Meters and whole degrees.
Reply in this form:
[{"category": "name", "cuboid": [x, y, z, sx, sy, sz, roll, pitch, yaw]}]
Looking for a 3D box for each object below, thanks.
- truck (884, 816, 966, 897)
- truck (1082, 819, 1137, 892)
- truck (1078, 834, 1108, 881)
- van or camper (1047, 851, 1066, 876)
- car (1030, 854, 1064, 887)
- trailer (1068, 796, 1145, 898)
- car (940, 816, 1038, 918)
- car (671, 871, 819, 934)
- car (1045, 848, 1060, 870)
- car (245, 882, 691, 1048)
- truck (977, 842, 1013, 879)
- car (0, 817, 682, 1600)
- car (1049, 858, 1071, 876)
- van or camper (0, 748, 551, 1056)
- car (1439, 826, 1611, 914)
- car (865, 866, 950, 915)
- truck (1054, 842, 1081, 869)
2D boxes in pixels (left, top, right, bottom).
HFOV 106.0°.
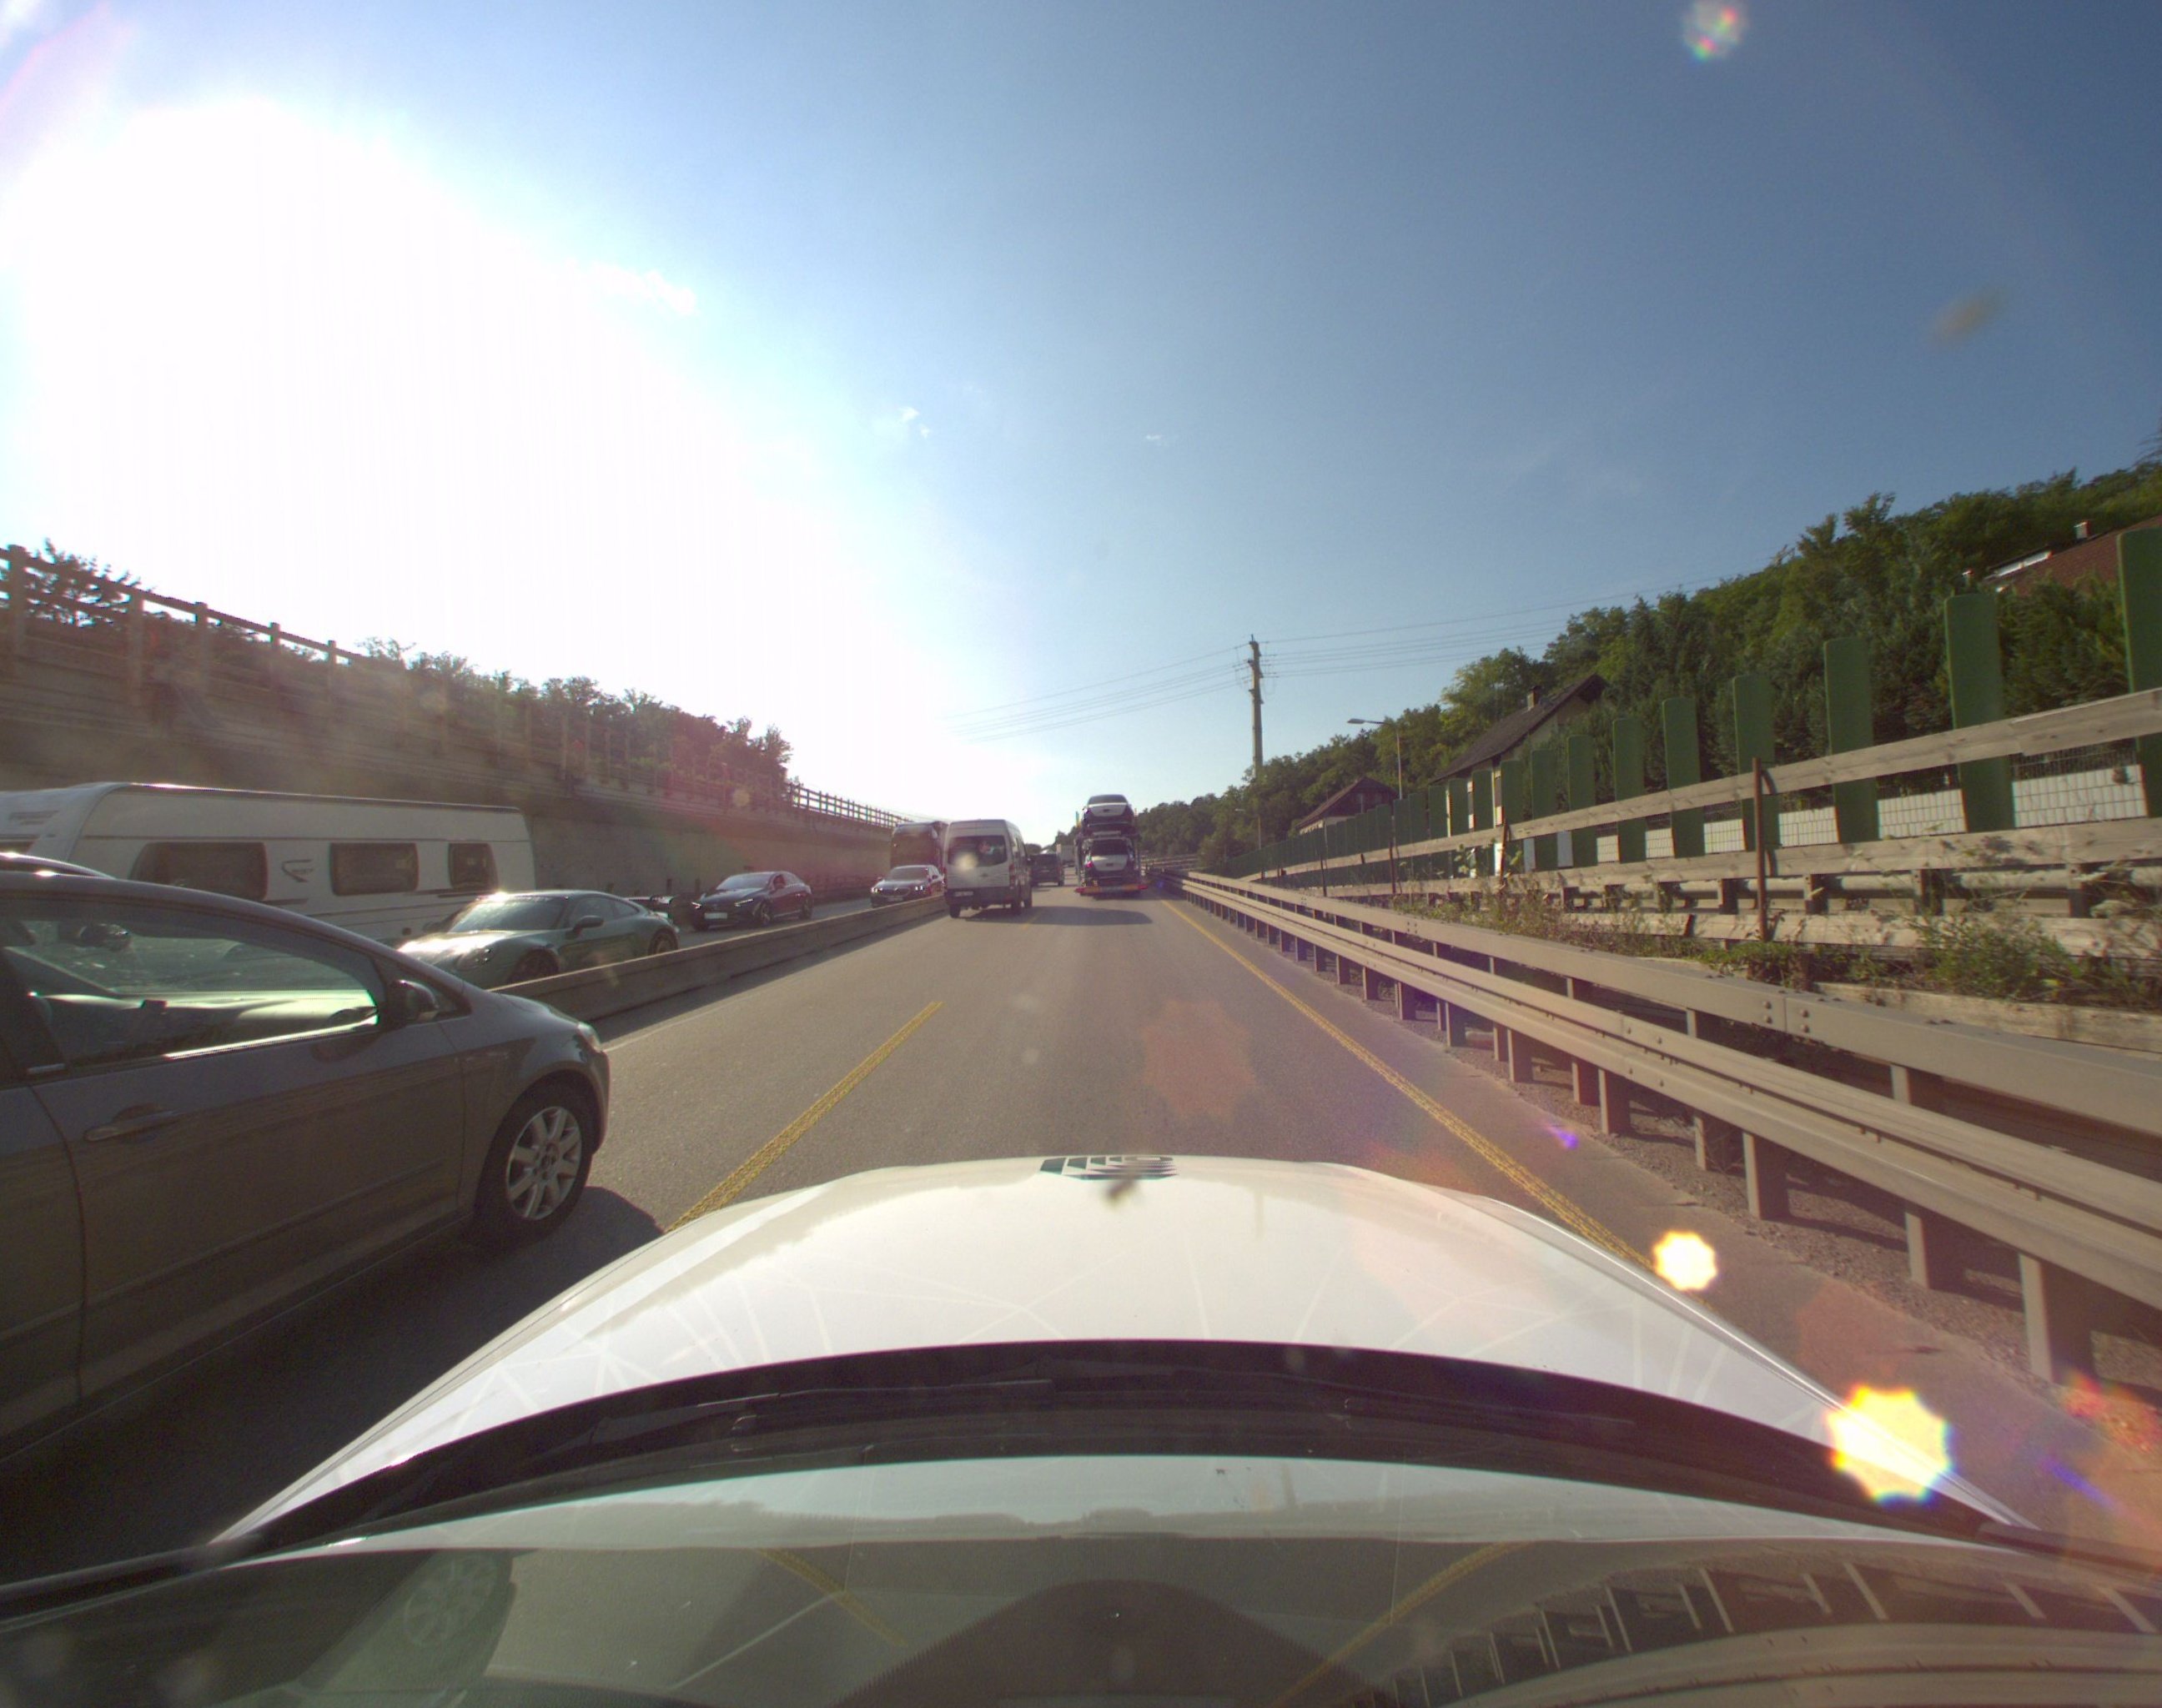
[{"category": "truck", "cuboid": [-8.894, 0.173, 47.626, 2.615, 4.112, 9.628, -3, -1, 1]}, {"category": "truck", "cuboid": [1.556, 0.158, 43.590, 2.672, 3.535, 7.197, 0, -2, 2]}, {"category": "truck", "cuboid": [1.121, 0.360, 83.448, 2.898, 4.607, 7.283, 0, -1, 0]}, {"category": "van or camper", "cuboid": [-2.733, 1.102, 90.994, 1.962, 2.592, 5.039, 1, -2, 0]}, {"category": "car", "cuboid": [-2.021, 1.003, 49.463, 1.802, 1.904, 4.000, 1, -2, 1]}, {"category": "trailer", "cuboid": [1.279, -0.058, 36.019, 2.671, 3.535, 15.297, 0, -1, 3]}, {"category": "car", "cuboid": [-2.552, 0.381, 24.072, 1.985, 2.648, 5.534, -1, -1, 3]}, {"category": "car", "cuboid": [-9.202, 1.267, 22.830, 1.965, 1.421, 4.900, -3, -1, 1]}, {"category": "car", "cuboid": [-6.677, 1.157, 188.370, 3.436, 5.035, 9.643, 0, -1, -2]}, {"category": "car", "cuboid": [-6.403, 1.050, 9.265, 1.774, 1.325, 4.240, -1, -1, 1]}, {"category": "truck", "cuboid": [-10.402, 0.837, 100.615, 2.974, 4.153, 15.846, 0, -1, -1]}, {"category": "car", "cuboid": [-3.033, 0.747, 2.125, 1.674, 1.588, 4.274, -2, 0, 2]}, {"category": "car", "cuboid": [-1.868, 1.173, 72.266, 1.719, 1.522, 3.974, 1, -1, 1]}, {"category": "van or camper", "cuboid": [-10.124, 0.490, 10.334, 2.303, 2.663, 6.458, -2, -1, 2]}, {"category": "car", "cuboid": [10.481, 0.429, 19.683, 1.800, 1.871, 4.441, -1, -2, 2]}, {"category": "car", "cuboid": [-6.017, 1.249, 28.867, 1.830, 1.594, 4.869, 1, -2, 1]}, {"category": "truck", "cuboid": [-2.488, 0.311, 145.097, 4.058, 4.680, 10.572, 0, -1, -5]}]
